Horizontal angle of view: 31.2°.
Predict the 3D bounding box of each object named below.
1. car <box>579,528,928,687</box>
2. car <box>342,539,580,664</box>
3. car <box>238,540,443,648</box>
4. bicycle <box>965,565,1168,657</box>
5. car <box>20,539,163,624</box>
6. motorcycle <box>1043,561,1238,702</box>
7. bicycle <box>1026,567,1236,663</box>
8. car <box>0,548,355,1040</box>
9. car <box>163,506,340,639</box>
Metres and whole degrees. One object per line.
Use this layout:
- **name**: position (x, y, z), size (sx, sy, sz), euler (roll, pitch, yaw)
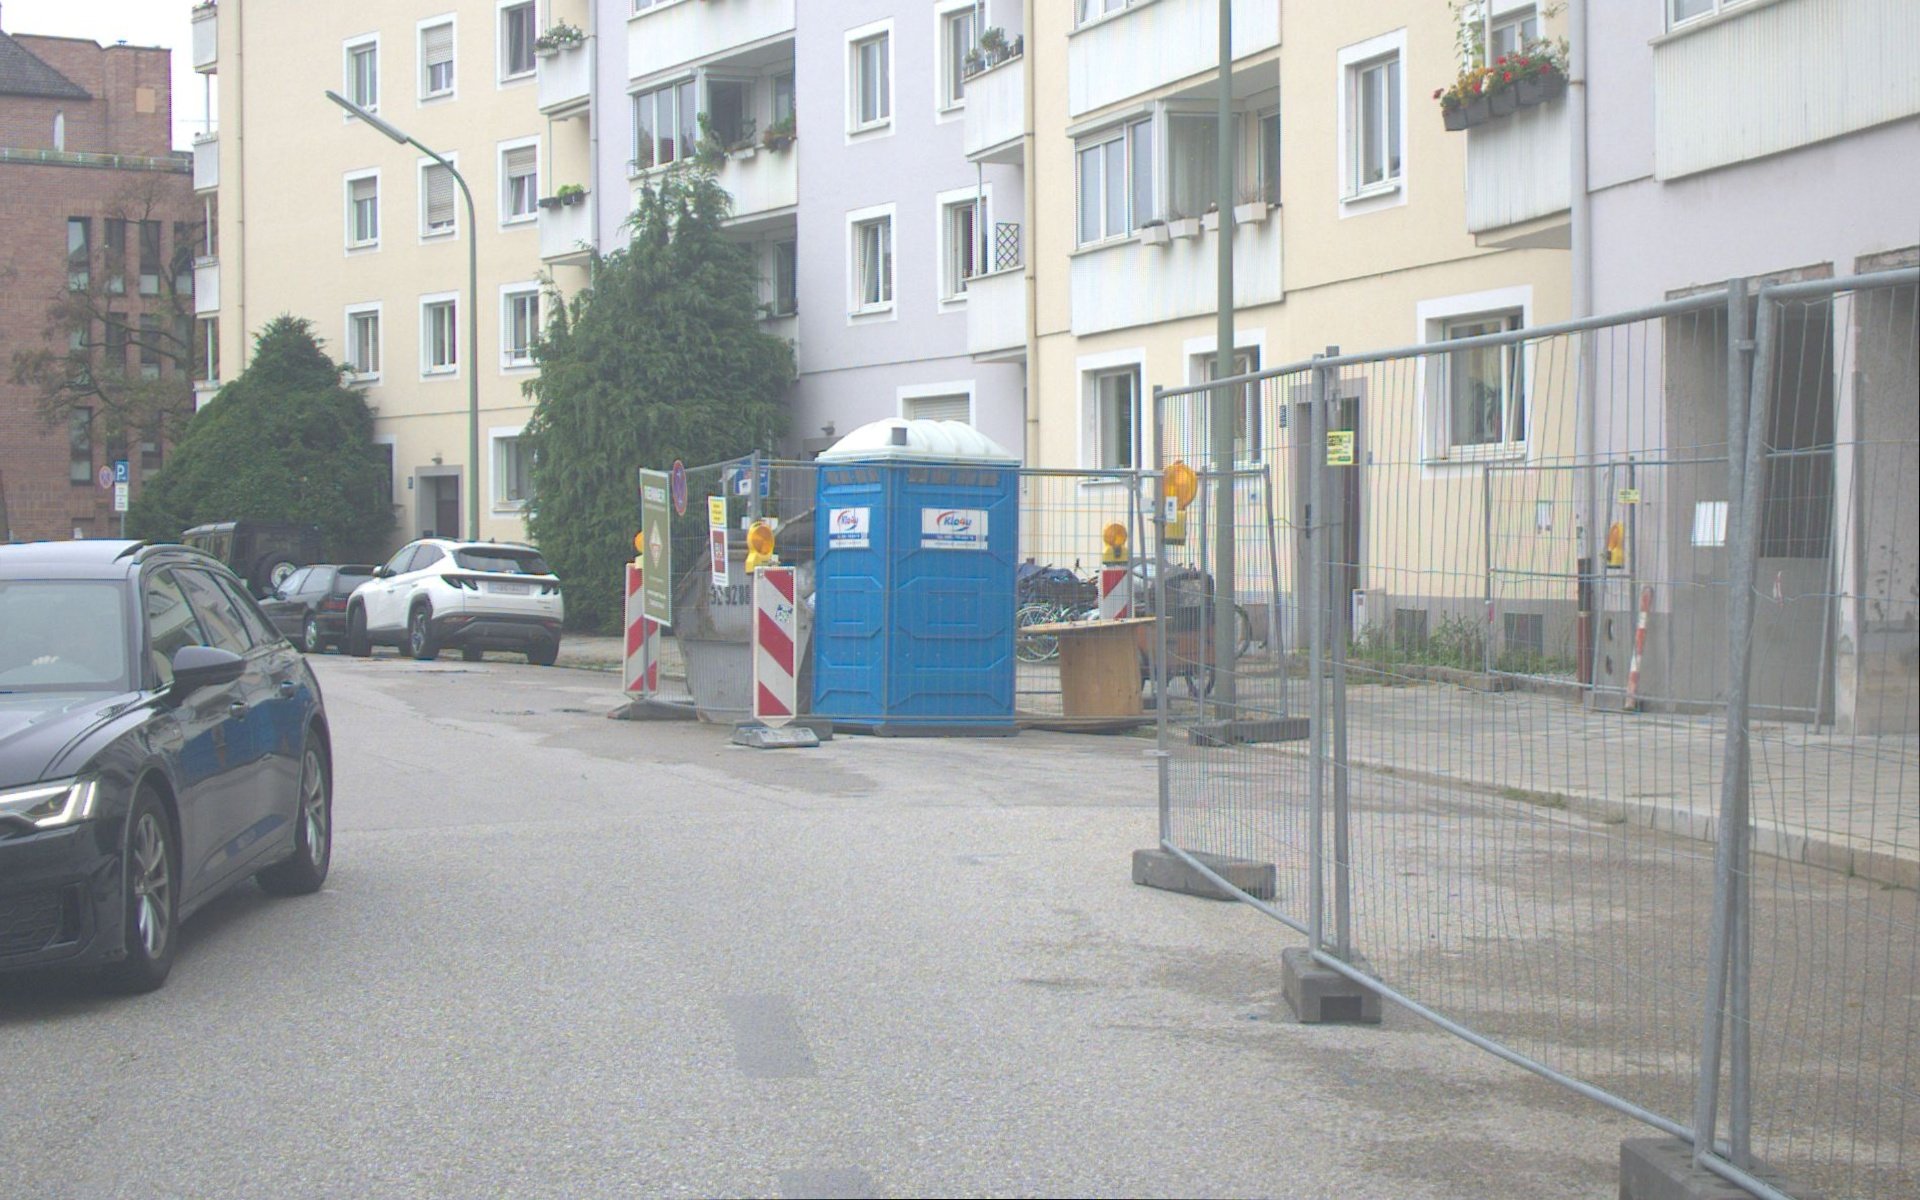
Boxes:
- **car**: position (-2.085, 0.024, 33.453), size (1.781, 1.434, 4.282), euler (-1, 1, -28)
- **car**: position (-6.736, -0.018, 46.104), size (1.830, 1.568, 4.000), euler (0, 1, -29)
- **car**: position (-9.168, -0.113, 50.678), size (1.781, 1.513, 3.720), euler (0, 1, -31)
- **bicycle**: position (1.270, 0.118, 41.088), size (2.232, 1.066, 0.920), euler (0, 1, -18)
- **car**: position (-16.030, -0.359, 63.352), size (1.781, 1.505, 3.721), euler (-1, 1, -27)
- **motorcycle**: position (1.632, 0.263, 31.687), size (0.931, 1.217, 2.508), euler (0, 1, -19)
- **bicycle**: position (1.975, 0.161, 39.713), size (2.232, 1.066, 0.920), euler (0, 1, -18)
- **car**: position (-3.569, 0.574, 12.455), size (1.920, 1.407, 4.704), euler (-3, 1, -1)
- **car**: position (-11.285, -0.452, 54.588), size (1.781, 1.970, 3.721), euler (-3, 2, -27)
